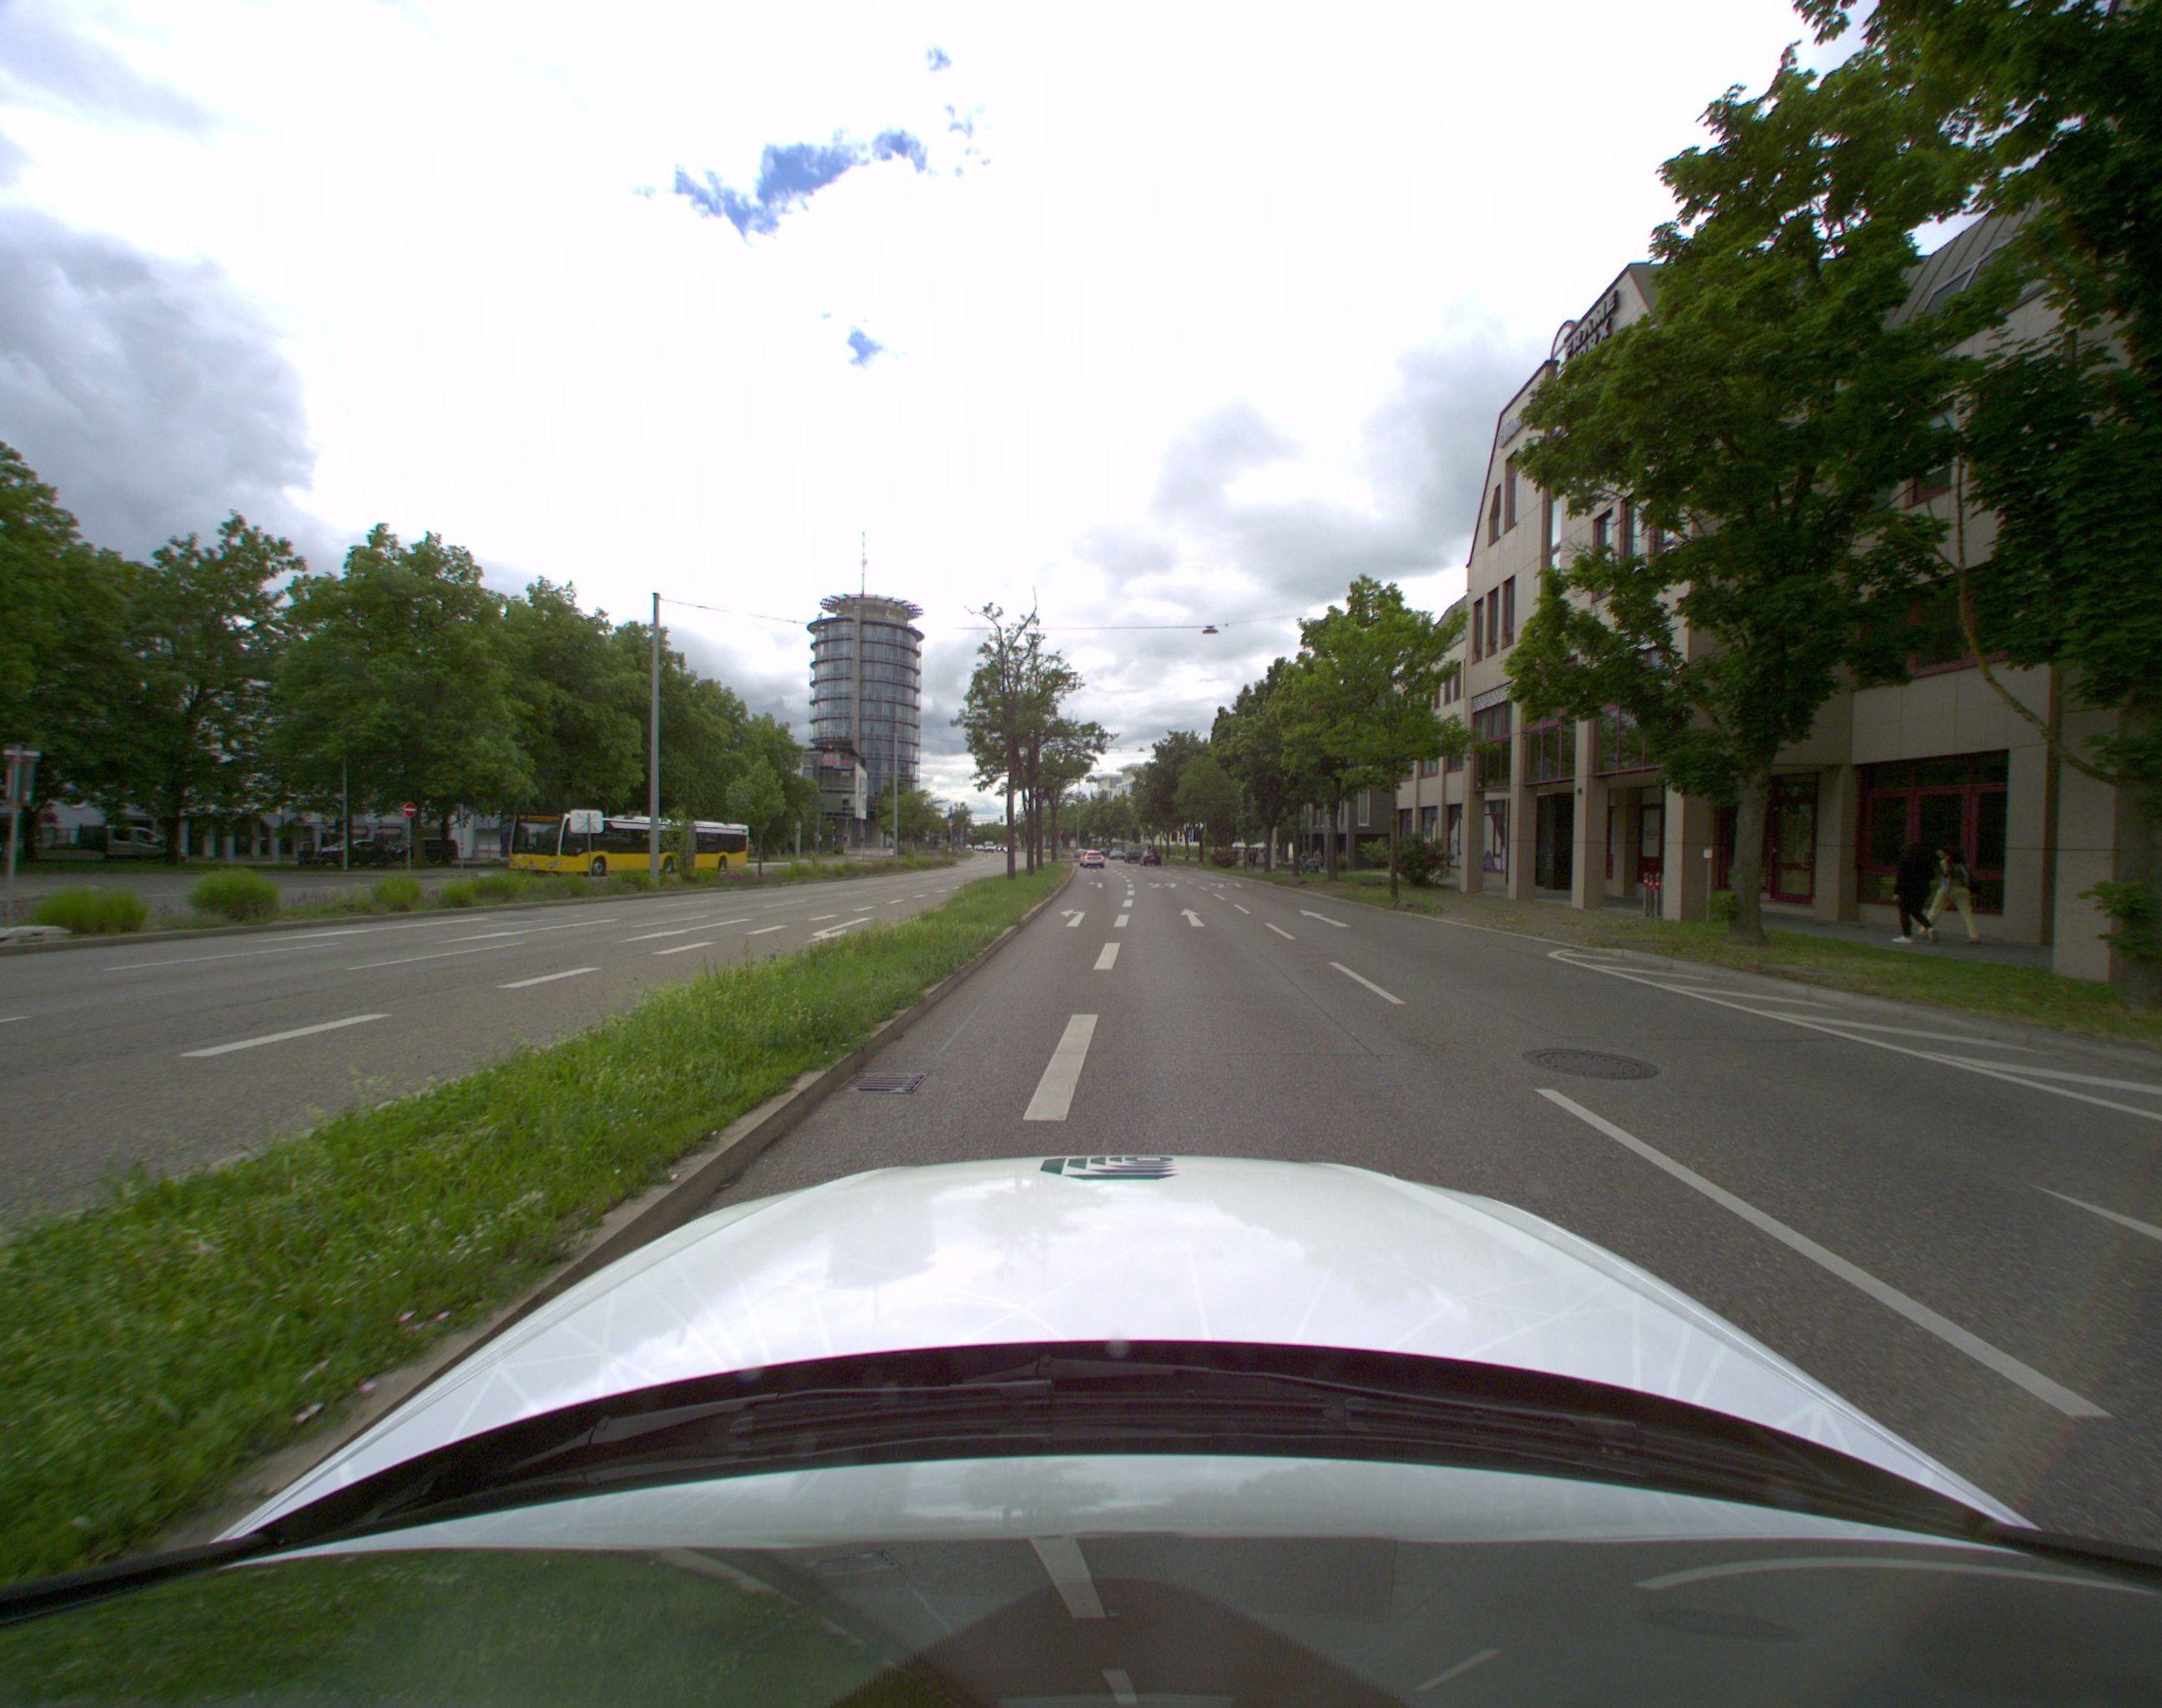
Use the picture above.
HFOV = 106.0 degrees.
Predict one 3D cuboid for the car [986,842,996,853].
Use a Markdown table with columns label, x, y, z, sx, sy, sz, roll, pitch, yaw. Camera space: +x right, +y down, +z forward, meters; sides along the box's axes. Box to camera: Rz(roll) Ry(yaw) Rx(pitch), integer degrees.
| label | x | y | z | sx | sy | sz | roll | pitch | yaw |
| --- | --- | --- | --- | --- | --- | --- | --- | --- | --- |
| car | -21.577 | -1.554 | 194.629 | 1.989 | 2.634 | 5.868 | 2 | 0 | -3 |

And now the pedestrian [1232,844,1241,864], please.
| label | x | y | z | sx | sy | sz | roll | pitch | yaw |
| --- | --- | --- | --- | --- | --- | --- | --- | --- | --- |
| pedestrian | 14.122 | 0.035 | 74.007 | 0.606 | 1.775 | 0.954 | 0 | 2 | 0 |

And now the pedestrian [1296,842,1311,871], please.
| label | x | y | z | sx | sy | sz | roll | pitch | yaw |
| --- | --- | --- | --- | --- | --- | --- | --- | --- | --- |
| pedestrian | 13.319 | 0.145 | 48.701 | 0.554 | 1.652 | 0.960 | -1 | 0 | -4 |

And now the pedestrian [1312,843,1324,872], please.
| label | x | y | z | sx | sy | sz | roll | pitch | yaw |
| --- | --- | --- | --- | --- | --- | --- | --- | --- | --- |
| pedestrian | 14.171 | 0.219 | 48.710 | 0.564 | 1.700 | 0.830 | 0 | 0 | 4 |

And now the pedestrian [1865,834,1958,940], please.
| label | x | y | z | sx | sy | sz | roll | pitch | yaw |
| --- | --- | --- | --- | --- | --- | --- | --- | --- | --- |
| pedestrian | 13.828 | 0.527 | 13.587 | 0.592 | 1.705 | 0.971 | 0 | 0 | 5 |

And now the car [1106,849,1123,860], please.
| label | x | y | z | sx | sy | sz | roll | pitch | yaw |
| --- | --- | --- | --- | --- | --- | --- | --- | --- | --- |
| car | 4.560 | 0.069 | 111.129 | 1.989 | 1.508 | 3.996 | 0 | 0 | -3 |

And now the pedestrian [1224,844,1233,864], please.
| label | x | y | z | sx | sy | sz | roll | pitch | yaw |
| --- | --- | --- | --- | --- | --- | --- | --- | --- | --- |
| pedestrian | 13.403 | 0.010 | 74.073 | 0.606 | 1.775 | 0.954 | 0 | 2 | 0 |

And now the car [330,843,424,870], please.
| label | x | y | z | sx | sy | sz | roll | pitch | yaw |
| --- | --- | --- | --- | --- | --- | --- | --- | --- | --- |
| car | -44.053 | 0.142 | 51.103 | 1.984 | 1.581 | 4.252 | 0 | 0 | 4 |

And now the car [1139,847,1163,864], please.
| label | x | y | z | sx | sy | sz | roll | pitch | yaw |
| --- | --- | --- | --- | --- | --- | --- | --- | --- | --- |
| car | 6.704 | 0.140 | 78.479 | 1.987 | 1.596 | 3.999 | 0 | 0 | 0 |

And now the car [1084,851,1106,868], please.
| label | x | y | z | sx | sy | sz | roll | pitch | yaw |
| --- | --- | --- | --- | --- | --- | --- | --- | --- | --- |
| car | 1.255 | 0.454 | 72.261 | 1.856 | 1.449 | 4.002 | 0 | 0 | 2 |

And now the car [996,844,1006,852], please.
| label | x | y | z | sx | sy | sz | roll | pitch | yaw |
| --- | --- | --- | --- | --- | --- | --- | --- | --- | --- |
| car | -19.659 | -1.399 | 200.139 | 1.989 | 1.930 | 3.995 | 2 | 0 | -3 |

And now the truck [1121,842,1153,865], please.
| label | x | y | z | sx | sy | sz | roll | pitch | yaw |
| --- | --- | --- | --- | --- | --- | --- | --- | --- | --- |
| truck | 6.319 | -0.008 | 93.149 | 2.853 | 2.519 | 6.279 | 0 | 0 | -4 |

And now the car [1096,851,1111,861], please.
| label | x | y | z | sx | sy | sz | roll | pitch | yaw |
| --- | --- | --- | --- | --- | --- | --- | --- | --- | --- |
| car | 3.535 | 0.371 | 126.920 | 1.989 | 1.490 | 3.996 | 1 | 0 | -3 |

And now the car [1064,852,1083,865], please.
| label | x | y | z | sx | sy | sz | roll | pitch | yaw |
| --- | --- | --- | --- | --- | --- | --- | --- | --- | --- |
| car | -0.888 | 0.478 | 98.167 | 1.984 | 1.508 | 4.006 | 0 | 0 | 5 |

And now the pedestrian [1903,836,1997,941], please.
| label | x | y | z | sx | sy | sz | roll | pitch | yaw |
| --- | --- | --- | --- | --- | --- | --- | --- | --- | --- |
| pedestrian | 14.623 | 0.554 | 13.730 | 0.592 | 1.705 | 0.971 | 0 | 0 | 5 |

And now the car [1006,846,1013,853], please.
| label | x | y | z | sx | sy | sz | roll | pitch | yaw |
| --- | --- | --- | --- | --- | --- | --- | --- | --- | --- |
| car | -22.750 | -1.455 | 258.332 | 1.989 | 2.010 | 4.319 | 2 | 0 | -3 |

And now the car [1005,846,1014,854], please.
| label | x | y | z | sx | sy | sz | roll | pitch | yaw |
| --- | --- | --- | --- | --- | --- | --- | --- | --- | --- |
| car | -15.409 | -0.869 | 175.149 | 1.749 | 1.444 | 4.130 | 2 | 0 | -3 |

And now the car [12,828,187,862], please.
| label | x | y | z | sx | sy | sz | roll | pitch | yaw |
| --- | --- | --- | --- | --- | --- | --- | --- | --- | --- |
| car | -50.629 | -0.461 | 42.204 | 1.977 | 1.648 | 5.430 | 0 | 0 | 20 |

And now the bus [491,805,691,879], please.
| label | x | y | z | sx | sy | sz | roll | pitch | yaw |
| --- | --- | --- | --- | --- | --- | --- | --- | --- | --- |
| bus | -24.276 | -0.558 | 41.449 | 3.070 | 3.162 | 10.747 | 2 | 0 | 3 |

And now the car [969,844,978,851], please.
| label | x | y | z | sx | sy | sz | roll | pitch | yaw |
| --- | --- | --- | --- | --- | --- | --- | --- | --- | --- |
| car | -30.792 | -1.767 | 233.406 | 1.989 | 1.852 | 4.319 | 2 | 0 | -3 |

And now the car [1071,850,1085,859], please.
| label | x | y | z | sx | sy | sz | roll | pitch | yaw |
| --- | --- | --- | --- | --- | --- | --- | --- | --- | --- |
| car | -0.533 | 0.054 | 130.325 | 1.989 | 1.490 | 3.996 | 1 | 0 | -3 |

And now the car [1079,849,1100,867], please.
| label | x | y | z | sx | sy | sz | roll | pitch | yaw |
| --- | --- | --- | --- | --- | --- | --- | --- | --- | --- |
| car | 0.846 | 0.395 | 78.968 | 1.987 | 1.672 | 4.000 | 0 | 0 | 0 |

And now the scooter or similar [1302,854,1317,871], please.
| label | x | y | z | sx | sy | sz | roll | pitch | yaw |
| --- | --- | --- | --- | --- | --- | --- | --- | --- | --- |
| scooter or similar | 13.399 | 0.491 | 47.795 | 0.582 | 0.994 | 0.845 | -1 | 0 | -4 |

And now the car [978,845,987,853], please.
| label | x | y | z | sx | sy | sz | roll | pitch | yaw |
| --- | --- | --- | --- | --- | --- | --- | --- | --- | --- |
| car | -26.267 | -1.383 | 217.484 | 1.989 | 2.010 | 4.319 | 2 | 0 | -3 |

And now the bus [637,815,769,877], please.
| label | x | y | z | sx | sy | sz | roll | pitch | yaw |
| --- | --- | --- | --- | --- | --- | --- | --- | --- | --- |
| bus | -23.567 | -0.462 | 51.680 | 3.017 | 3.455 | 9.922 | 2 | 0 | 4 |

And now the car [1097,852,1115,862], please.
| label | x | y | z | sx | sy | sz | roll | pitch | yaw |
| --- | --- | --- | --- | --- | --- | --- | --- | --- | --- |
| car | 3.836 | 0.400 | 125.690 | 1.994 | 1.508 | 3.986 | 0 | 0 | -10 |
